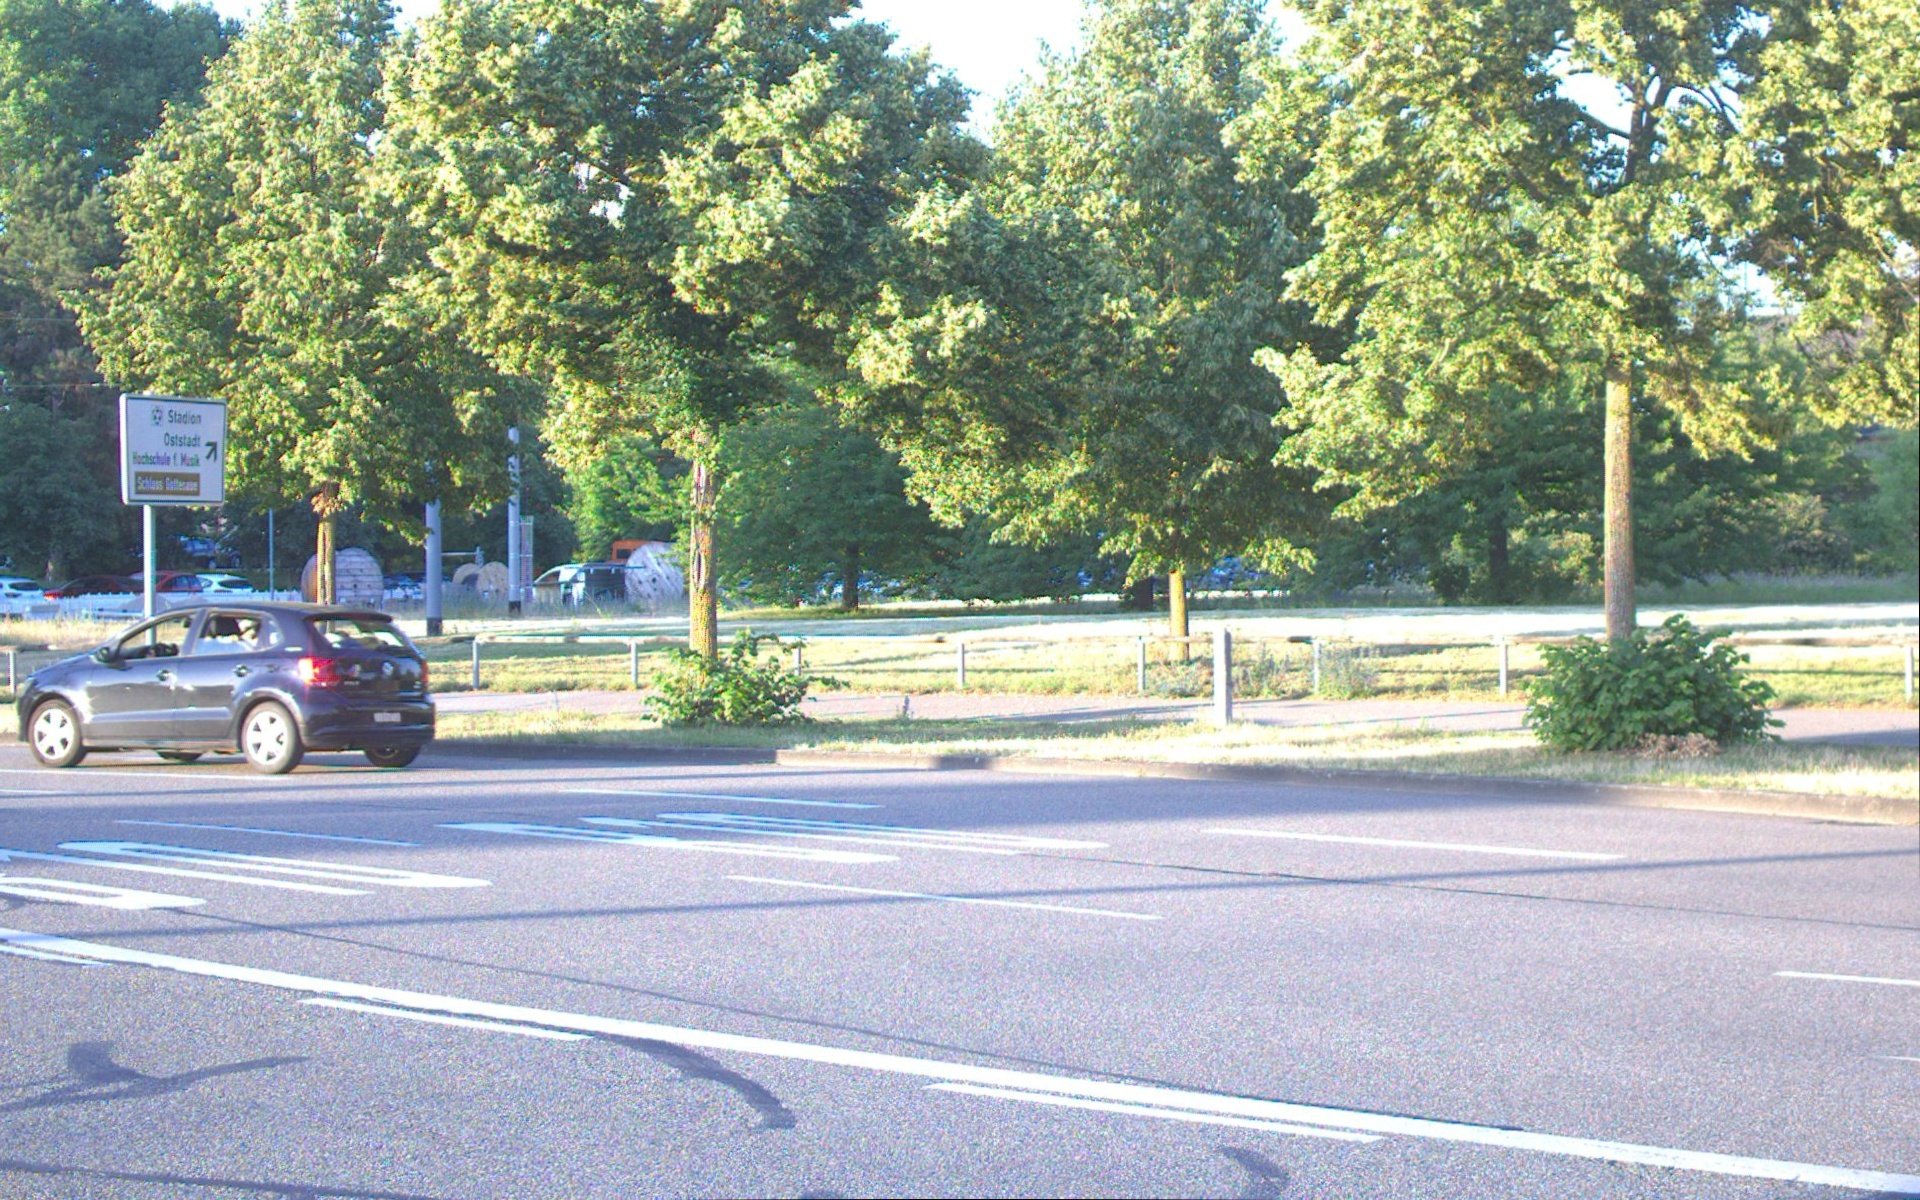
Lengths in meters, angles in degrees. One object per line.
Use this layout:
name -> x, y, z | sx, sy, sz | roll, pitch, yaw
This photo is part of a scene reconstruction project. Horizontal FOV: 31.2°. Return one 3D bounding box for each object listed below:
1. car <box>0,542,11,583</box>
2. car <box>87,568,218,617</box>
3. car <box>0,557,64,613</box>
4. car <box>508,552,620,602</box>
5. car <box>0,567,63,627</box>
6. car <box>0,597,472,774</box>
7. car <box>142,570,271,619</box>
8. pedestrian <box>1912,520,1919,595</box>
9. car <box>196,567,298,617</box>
car -> -42.433, -1.571, 145.363 | 3.988, 1.700, 2.000 | 0, 1, 7
car -> -26.793, -0.257, 114.095 | 3.994, 1.598, 1.996 | 0, 1, 33
car -> -35.252, -0.546, 125.807 | 4.582, 2.007, 2.001 | -1, 1, -9
car -> -13.247, -0.772, 114.885 | 1.734, 1.612, 3.998 | -1, 1, -41
car -> -33.166, -0.089, 117.674 | 4.582, 2.007, 2.001 | -1, 1, -9
car -> -6.243, 0.680, 29.191 | 3.994, 1.349, 1.691 | 0, 1, 32
car -> -25.389, -0.201, 115.825 | 3.994, 1.598, 1.996 | 0, 1, 33
pedestrian -> 20.969, -0.909, 73.369 | 1.069, 1.612, 0.910 | 0, 1, 2
car -> -26.838, -0.316, 129.304 | 1.994, 1.746, 4.597 | -1, 2, -37
